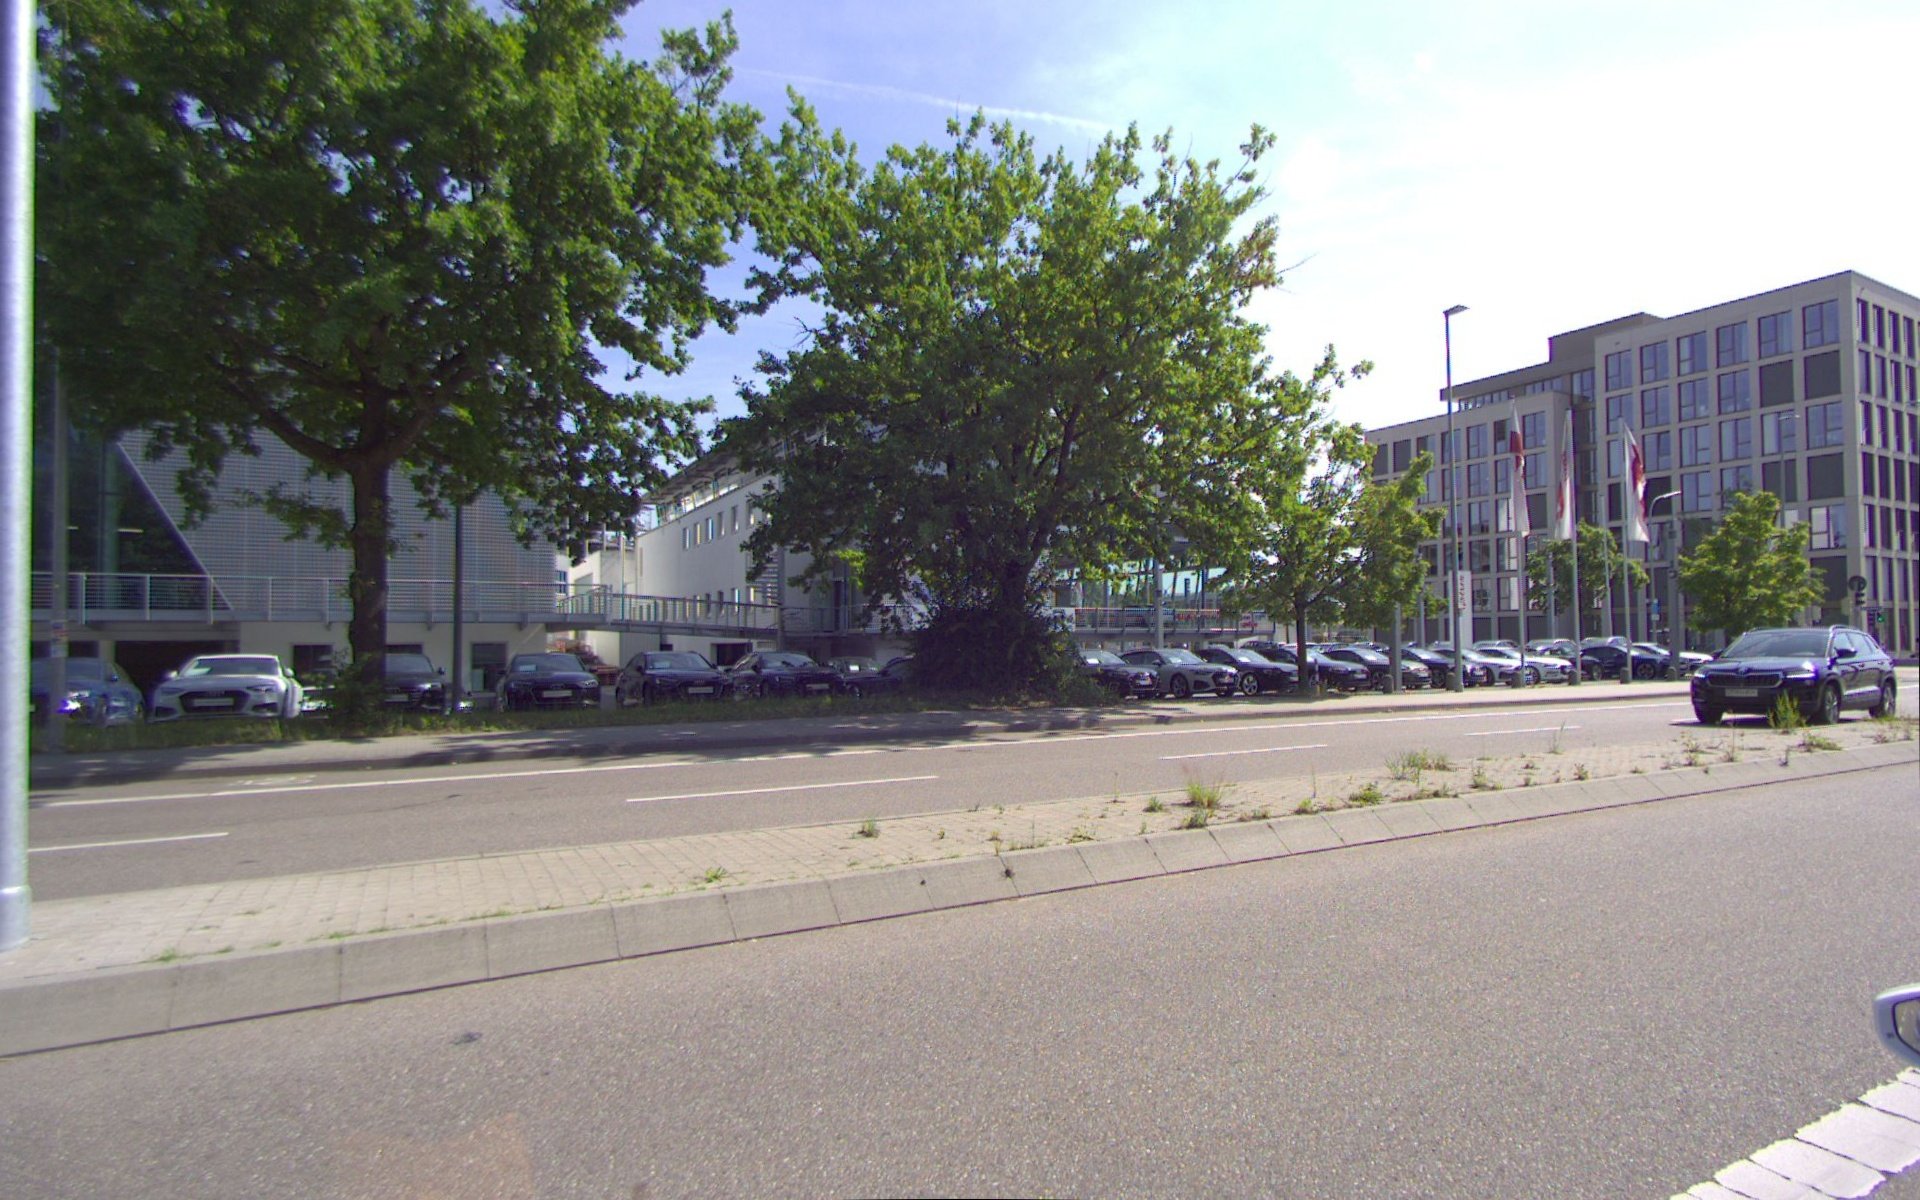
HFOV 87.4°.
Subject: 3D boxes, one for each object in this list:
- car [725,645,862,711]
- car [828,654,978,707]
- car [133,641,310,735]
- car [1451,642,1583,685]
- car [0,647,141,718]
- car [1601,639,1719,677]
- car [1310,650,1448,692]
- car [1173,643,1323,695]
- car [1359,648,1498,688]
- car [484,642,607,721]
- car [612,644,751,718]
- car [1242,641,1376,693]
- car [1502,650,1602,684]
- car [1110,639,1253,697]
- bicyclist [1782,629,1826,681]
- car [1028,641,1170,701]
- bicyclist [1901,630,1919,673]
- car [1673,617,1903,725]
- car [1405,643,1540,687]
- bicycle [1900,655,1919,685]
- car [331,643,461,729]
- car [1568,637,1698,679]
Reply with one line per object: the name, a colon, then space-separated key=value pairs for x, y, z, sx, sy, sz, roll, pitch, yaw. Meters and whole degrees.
car: x=-3.985 y=1.871 z=23.504 sx=1.975 sy=1.376 sz=3.973 roll=1 pitch=-6 yaw=-28
car: x=-1.621 y=2.267 z=28.109 sx=3.930 sy=1.272 sz=1.588 roll=-5 pitch=-6 yaw=30
car: x=-13.041 y=1.594 z=18.004 sx=1.975 sy=1.460 sz=3.973 roll=1 pitch=-6 yaw=-28
car: x=20.147 y=2.331 z=36.518 sx=1.725 sy=1.382 sz=3.865 roll=0 pitch=-5 yaw=-26
car: x=-15.251 y=1.425 z=16.905 sx=1.677 sy=1.047 sz=4.090 roll=1 pitch=-6 yaw=-31
car: x=28.923 y=2.437 z=41.610 sx=1.620 sy=1.375 sz=3.581 roll=0 pitch=-6 yaw=-28
car: x=13.352 y=2.309 z=32.264 sx=1.771 sy=1.167 sz=3.865 roll=0 pitch=-5 yaw=-26
car: x=8.461 y=2.079 z=29.884 sx=2.010 sy=1.348 sz=4.156 roll=0 pitch=-5 yaw=-26
car: x=15.651 y=2.316 z=33.765 sx=1.886 sy=1.180 sz=3.865 roll=0 pitch=-5 yaw=-26
car: x=-8.785 y=1.746 z=21.081 sx=1.975 sy=1.460 sz=4.125 roll=1 pitch=-6 yaw=-28
car: x=-6.283 y=1.836 z=22.301 sx=2.027 sy=1.460 sz=4.288 roll=1 pitch=-6 yaw=-29
car: x=10.701 y=2.100 z=31.070 sx=1.637 sy=1.437 sz=3.865 roll=0 pitch=-5 yaw=-26
car: x=23.179 y=2.628 z=39.341 sx=3.387 sy=1.189 sz=1.850 roll=0 pitch=-6 yaw=-29
car: x=6.124 y=1.950 z=28.211 sx=1.886 sy=1.437 sz=3.865 roll=0 pitch=-5 yaw=-26
bicyclist: x=25.290 y=1.639 z=30.098 sx=1.024 sy=1.546 sz=0.616 roll=1 pitch=-3 yaw=-29
car: x=3.666 y=1.956 z=27.174 sx=1.886 sy=1.437 sz=3.977 roll=0 pitch=-5 yaw=-26
bicyclist: x=34.522 y=1.836 z=36.143 sx=1.016 sy=1.521 sz=0.627 roll=1 pitch=-3 yaw=-30
car: x=14.090 y=1.182 z=17.047 sx=4.163 sy=1.639 sz=1.730 roll=1 pitch=-5 yaw=-32
car: x=17.882 y=2.294 z=35.206 sx=1.824 sy=1.350 sz=3.865 roll=0 pitch=-5 yaw=-26
bicycle: x=34.610 y=2.503 z=36.160 sx=1.854 sy=1.065 sz=0.582 roll=1 pitch=-4 yaw=-30
car: x=-10.919 y=1.709 z=19.597 sx=1.975 sy=1.460 sz=4.234 roll=1 pitch=-6 yaw=-28
car: x=26.964 y=2.348 z=40.378 sx=1.844 sy=1.483 sz=3.862 roll=0 pitch=-6 yaw=-27
